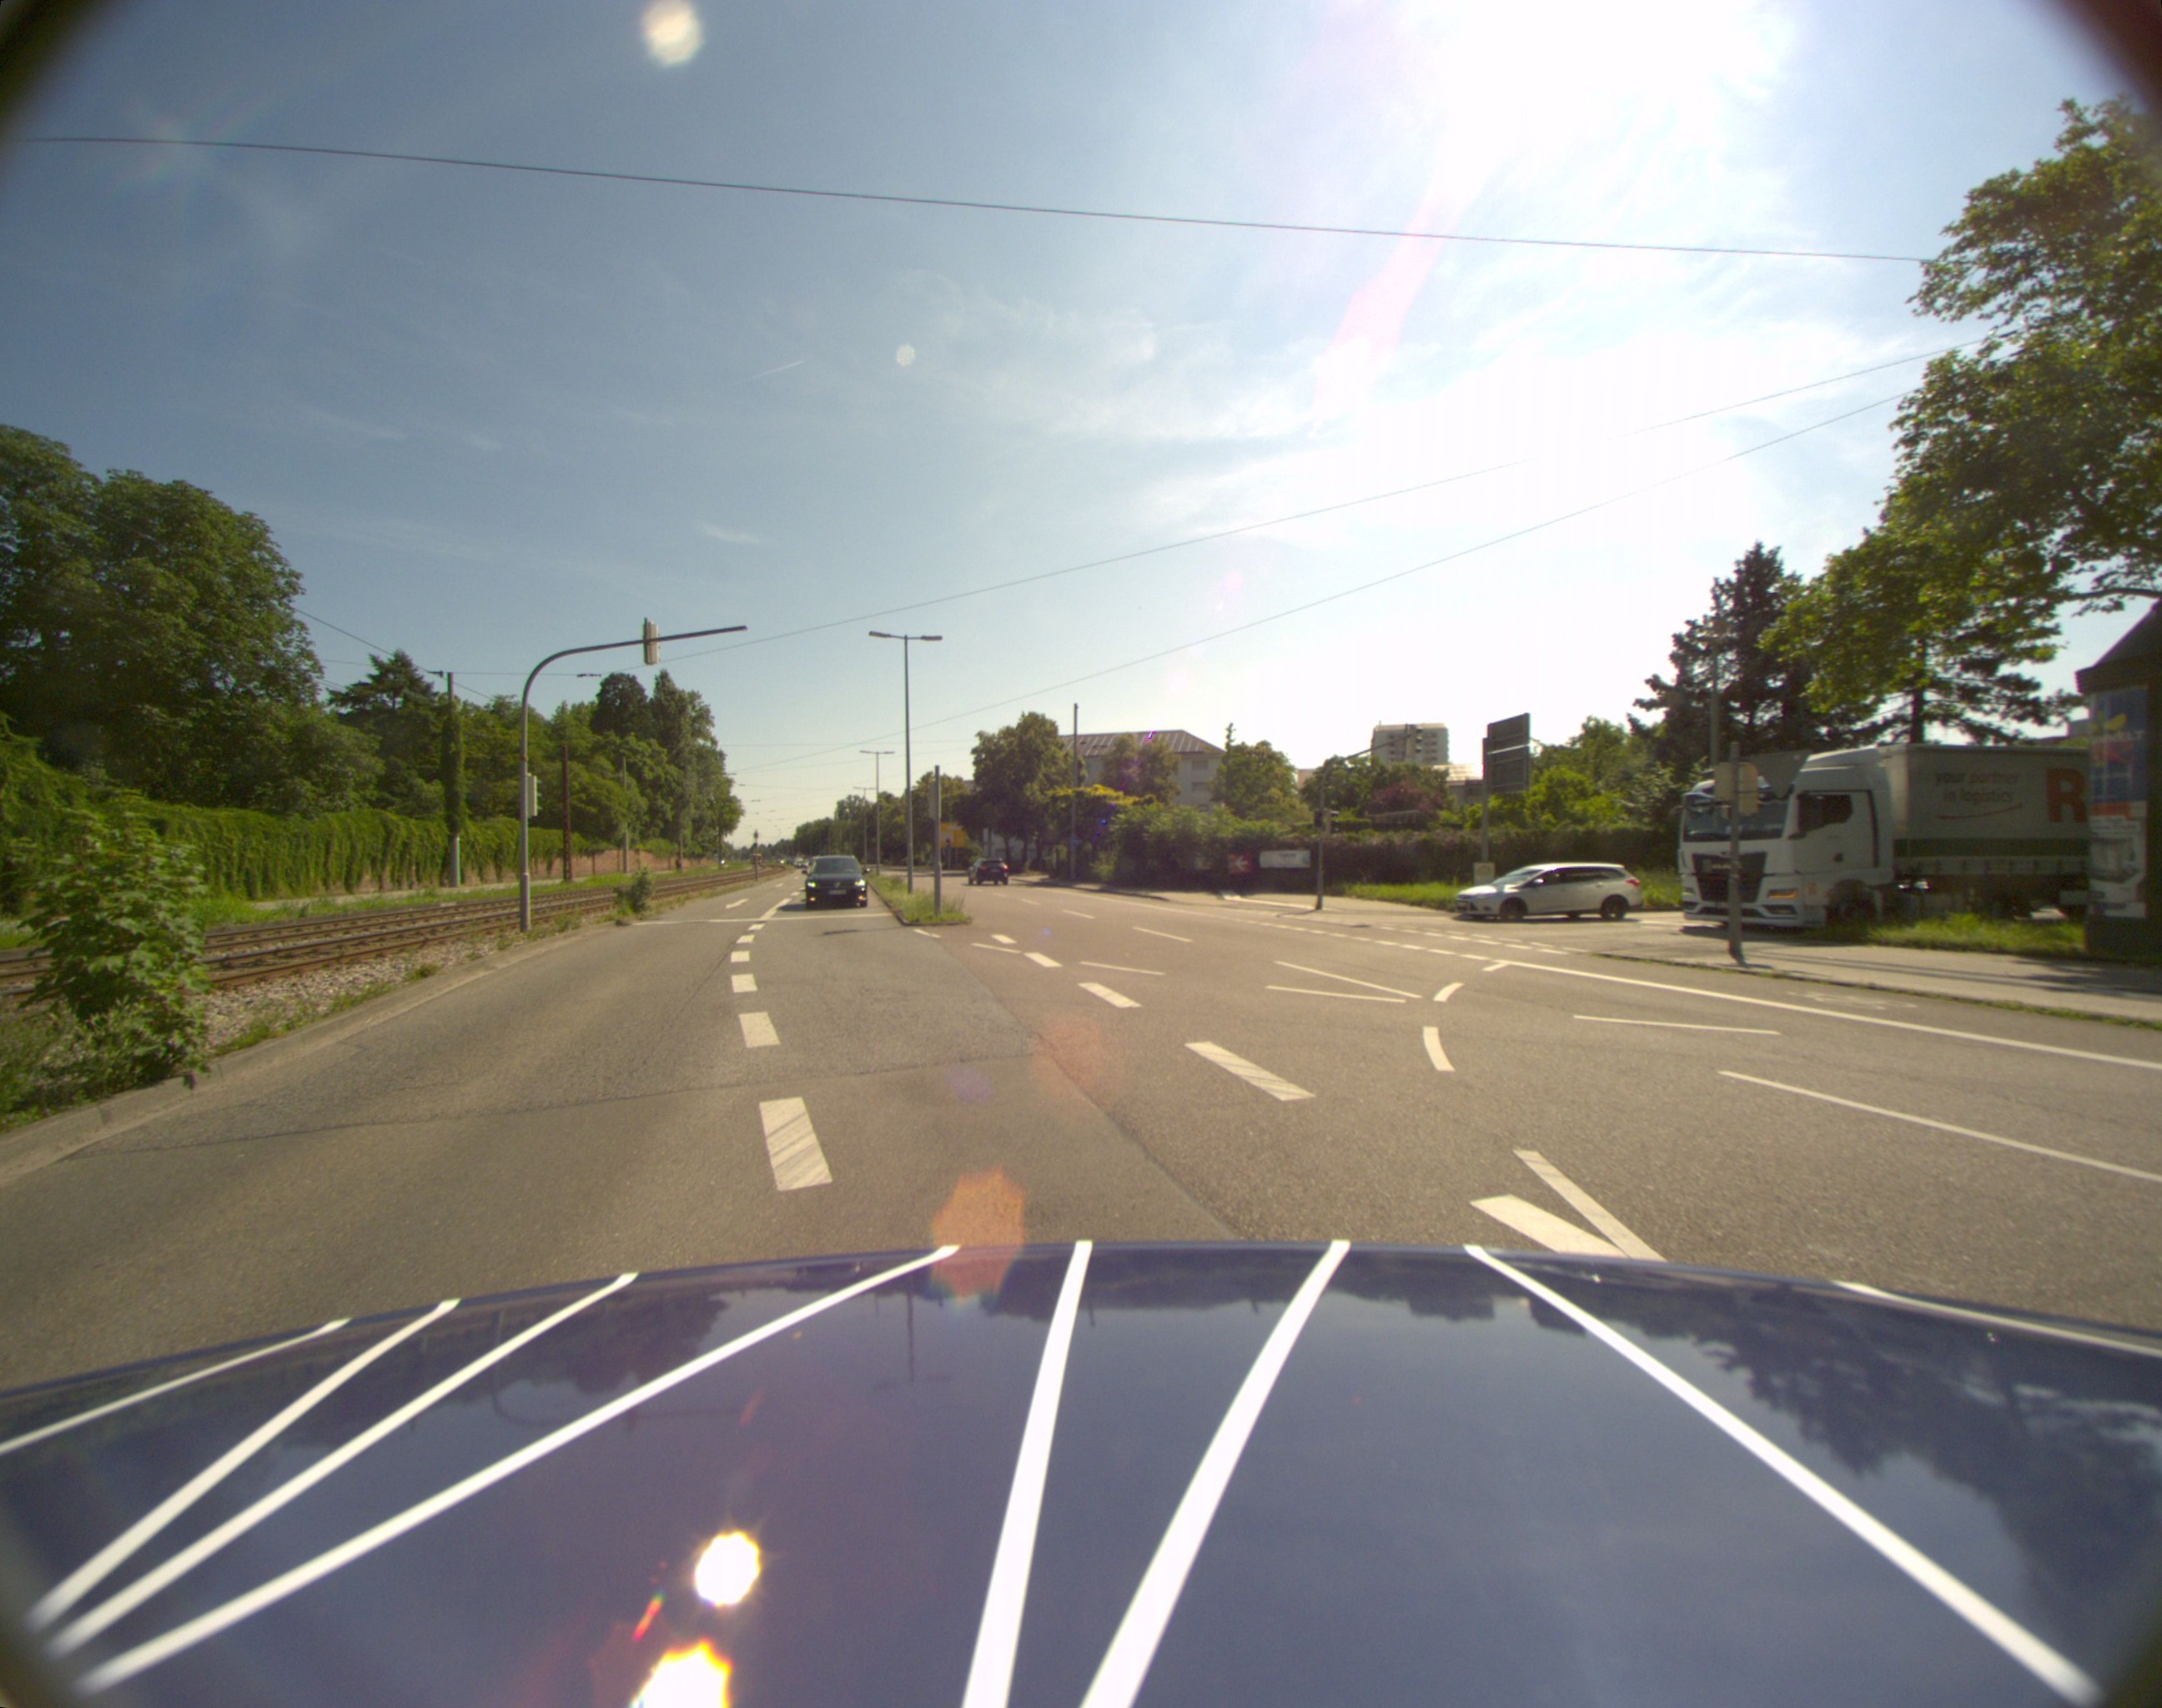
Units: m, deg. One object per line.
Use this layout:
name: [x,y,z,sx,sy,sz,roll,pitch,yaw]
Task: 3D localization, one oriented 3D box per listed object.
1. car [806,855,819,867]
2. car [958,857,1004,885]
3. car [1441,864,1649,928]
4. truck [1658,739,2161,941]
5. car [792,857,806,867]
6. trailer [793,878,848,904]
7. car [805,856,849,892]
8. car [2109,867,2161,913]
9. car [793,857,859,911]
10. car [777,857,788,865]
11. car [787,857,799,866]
car: [-54.462,1.340,154.084,2.268,2.336,5.221,-1,0,-19]
car: [-5.954,0.981,44.927,1.758,1.573,4.498,1,-1,-19]
car: [12.045,1.071,19.899,4.395,1.501,1.756,-1,-1,-3]
truck: [20.806,-0.250,17.658,14.306,3.984,2.852,0,0,-10]
car: [-46.571,1.283,125.389,1.934,1.593,4.460,-1,0,-22]
trailer: [-9.606,1.319,27.864,1.758,0.813,3.064,0,0,-22]
car: [-12.152,0.905,36.168,1.758,1.573,4.497,0,0,-22]
car: [34.796,1.073,23.465,4.371,1.360,1.755,-1,-1,-8]
car: [-8.245,0.875,24.332,1.758,1.573,4.497,0,0,-22]
car: [-59.725,1.325,152.171,1.934,1.593,4.460,-1,0,-20]
car: [-53.117,1.357,140.046,1.934,1.593,4.460,-1,0,-20]
